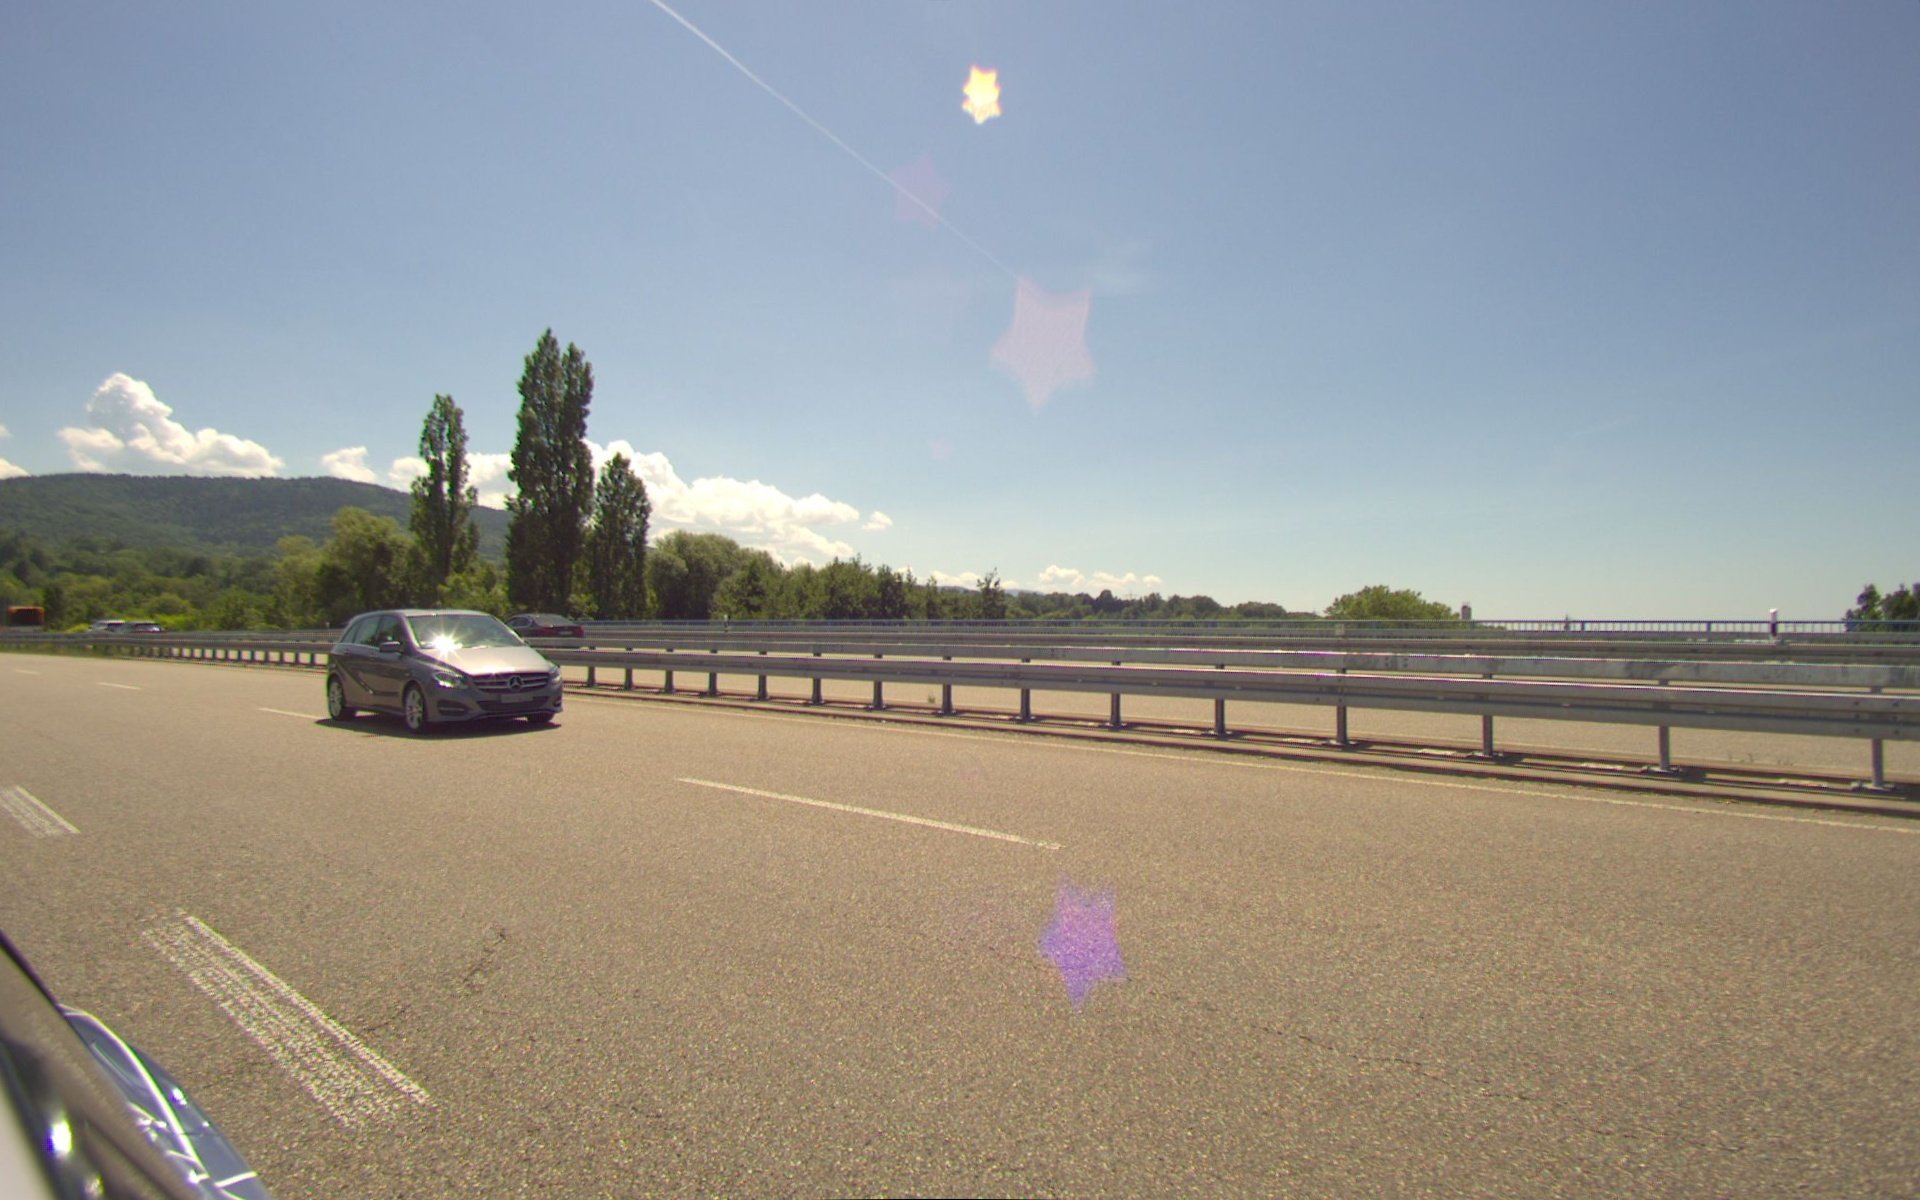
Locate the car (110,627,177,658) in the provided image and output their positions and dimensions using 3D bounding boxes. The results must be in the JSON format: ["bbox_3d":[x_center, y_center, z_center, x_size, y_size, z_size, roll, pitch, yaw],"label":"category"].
[{"bbox_3d":[-42.753,2.223,52.963,4.679,1.516,1.885,-2,-1,40],"label":"car"}]

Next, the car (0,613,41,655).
[{"bbox_3d":[-76.157,2.722,81.385,7.020,3.317,2.283,-2,-2,39],"label":"car"}]

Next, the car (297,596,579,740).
[{"bbox_3d":[-7.268,0.872,13.896,4.549,1.680,1.775,-2,-3,39],"label":"car"}]

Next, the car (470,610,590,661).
[{"bbox_3d":[-15.286,1.197,35.843,5.047,1.680,1.825,0,-1,40],"label":"car"}]

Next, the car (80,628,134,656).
[{"bbox_3d":[-58.624,2.851,69.546,4.787,1.832,1.835,0,-1,38],"label":"car"}]
